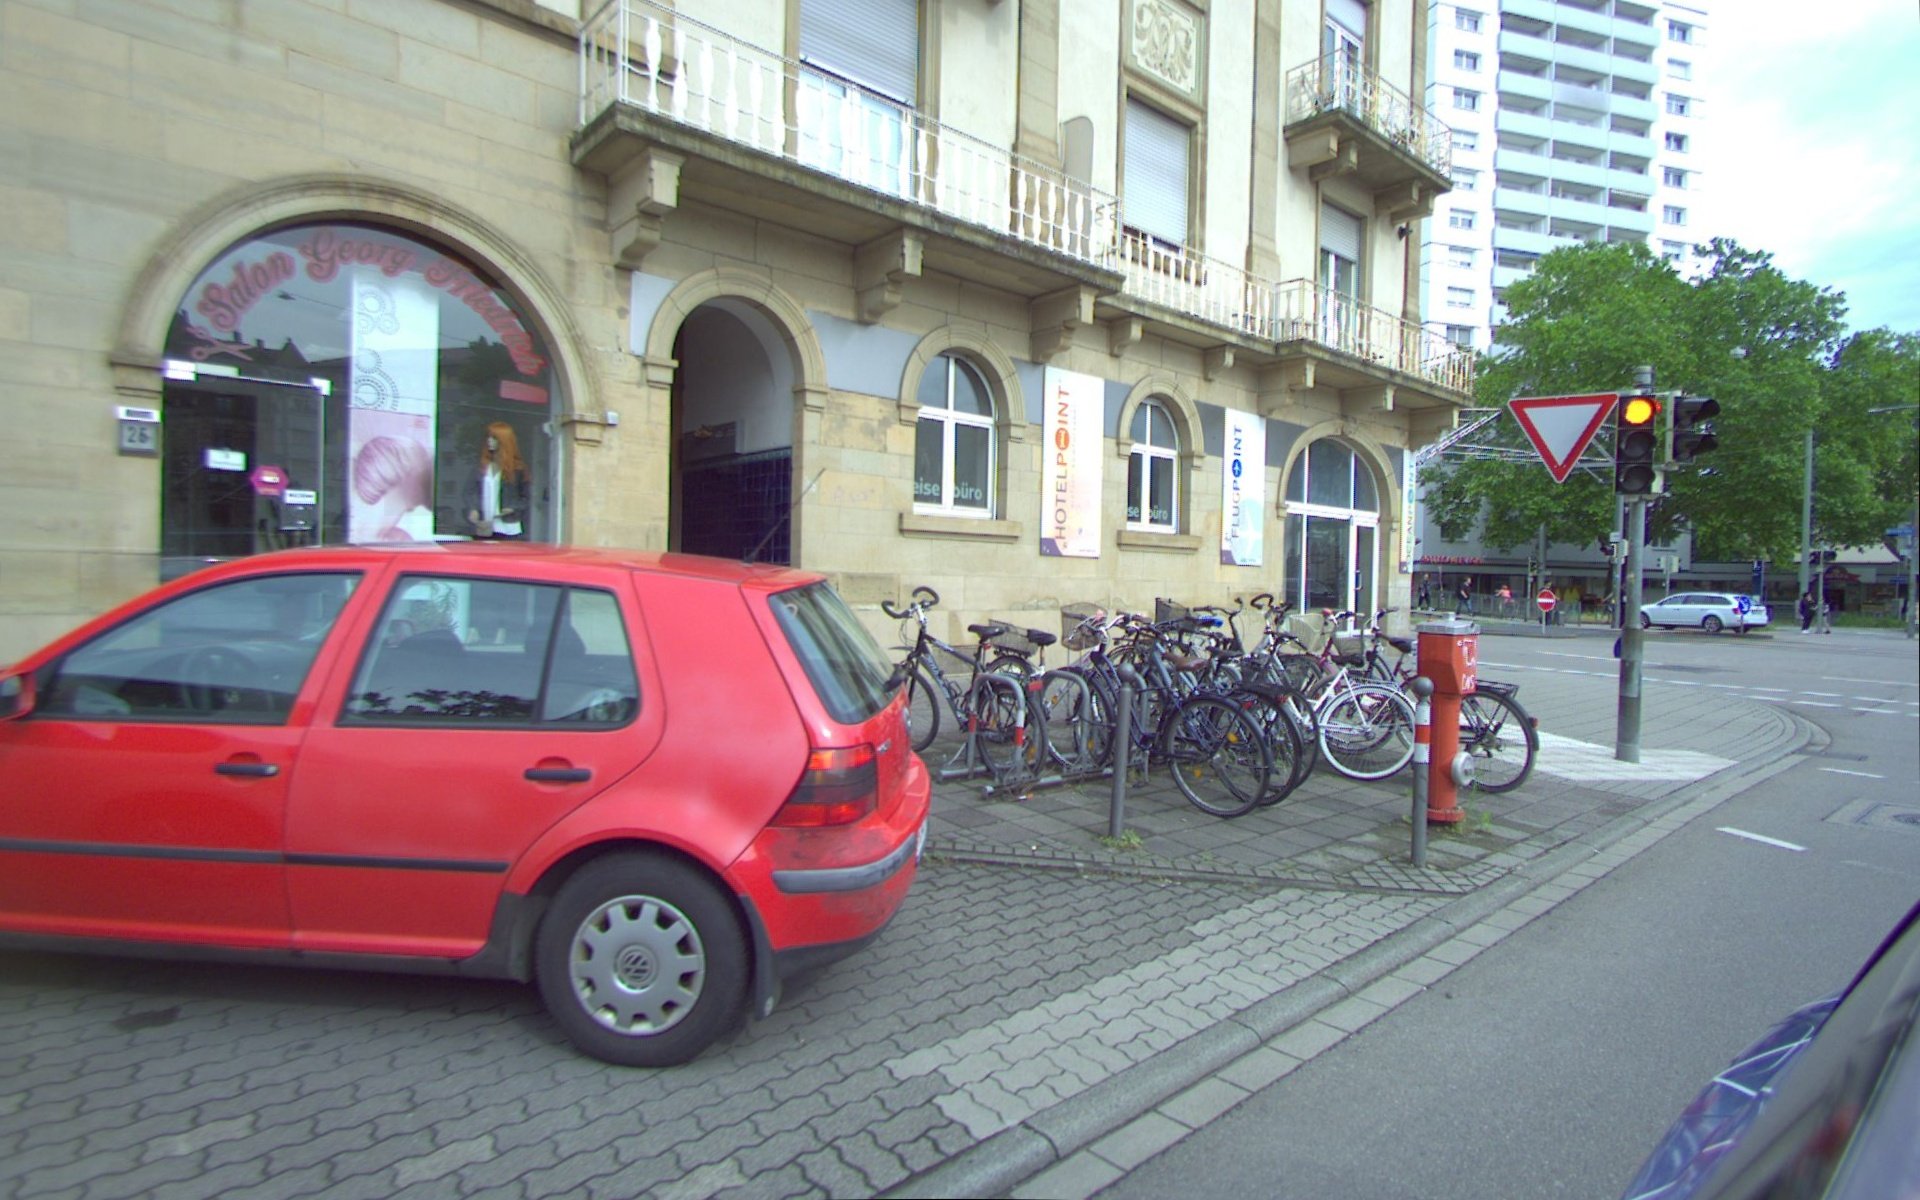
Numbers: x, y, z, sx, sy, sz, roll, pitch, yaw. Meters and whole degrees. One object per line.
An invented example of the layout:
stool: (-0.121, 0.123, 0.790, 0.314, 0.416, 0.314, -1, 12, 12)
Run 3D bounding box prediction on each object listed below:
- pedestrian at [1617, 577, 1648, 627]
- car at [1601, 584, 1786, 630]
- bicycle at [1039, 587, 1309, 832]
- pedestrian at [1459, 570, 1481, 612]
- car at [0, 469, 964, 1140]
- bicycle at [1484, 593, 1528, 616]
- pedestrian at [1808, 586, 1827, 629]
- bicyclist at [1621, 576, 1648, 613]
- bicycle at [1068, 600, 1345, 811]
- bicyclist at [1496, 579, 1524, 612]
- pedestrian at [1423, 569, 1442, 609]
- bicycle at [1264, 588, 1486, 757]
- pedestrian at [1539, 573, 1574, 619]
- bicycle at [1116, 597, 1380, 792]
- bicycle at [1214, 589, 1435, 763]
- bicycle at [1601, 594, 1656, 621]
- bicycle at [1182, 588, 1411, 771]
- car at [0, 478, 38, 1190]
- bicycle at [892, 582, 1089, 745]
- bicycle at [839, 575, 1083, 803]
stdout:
pedestrian: (24.211, 0.049, 36.436, 0.642, 1.772, 0.629, -1, 1, -14)
car: (27.802, 0.212, 38.673, 1.808, 1.544, 5.715, 2, 1, -18)
bicycle: (1.218, 0.570, 6.066, 0.468, 1.186, 1.570, -1, 5, -41)
pedestrian: (21.709, -0.372, 43.078, 0.609, 1.772, 0.549, -1, 1, -16)
car: (-1.943, 0.425, 3.572, 3.764, 1.579, 1.795, 4, 4, 3)
bicycle: (27.891, 0.224, 51.692, 0.714, 1.077, 1.997, 3, 1, -17)
pedestrian: (33.064, 0.299, 39.019, 0.522, 1.632, 0.519, 1, 1, 41)
bicyclist: (29.698, -0.243, 44.566, 0.572, 1.581, 0.758, 3, 0, -16)
bicycle: (1.510, 0.597, 6.498, 0.468, 1.051, 1.737, -1, 5, -41)
bicyclist: (27.974, -0.224, 51.490, 0.693, 1.658, 0.996, 2, 0, -17)
pedestrian: (21.519, -0.525, 46.096, 0.609, 1.812, 0.536, -1, 1, -16)
bicycle: (3.320, 0.528, 8.218, 0.468, 1.140, 1.570, -1, 5, -41)
pedestrian: (22.559, -0.151, 38.309, 0.727, 1.716, 0.881, -1, 1, -16)
bicycle: (1.924, 0.579, 6.993, 0.468, 1.051, 1.737, -1, 5, -41)
bicycle: (2.838, 0.543, 8.019, 0.468, 1.140, 1.570, -1, 5, -41)
bicycle: (29.537, 0.333, 44.782, 0.714, 1.077, 1.997, 3, 1, -16)
bicycle: (2.492, 0.535, 7.645, 0.468, 1.140, 1.570, -1, 5, -41)
car: (-3.869, 0.442, 1.532, 3.528, 1.526, 1.847, 4, 4, 8)
bicycle: (0.193, 0.443, 8.035, 0.468, 1.051, 1.737, -1, 5, -41)
bicycle: (-0.057, 0.487, 6.539, 0.487, 1.186, 1.783, -1, 5, -41)
